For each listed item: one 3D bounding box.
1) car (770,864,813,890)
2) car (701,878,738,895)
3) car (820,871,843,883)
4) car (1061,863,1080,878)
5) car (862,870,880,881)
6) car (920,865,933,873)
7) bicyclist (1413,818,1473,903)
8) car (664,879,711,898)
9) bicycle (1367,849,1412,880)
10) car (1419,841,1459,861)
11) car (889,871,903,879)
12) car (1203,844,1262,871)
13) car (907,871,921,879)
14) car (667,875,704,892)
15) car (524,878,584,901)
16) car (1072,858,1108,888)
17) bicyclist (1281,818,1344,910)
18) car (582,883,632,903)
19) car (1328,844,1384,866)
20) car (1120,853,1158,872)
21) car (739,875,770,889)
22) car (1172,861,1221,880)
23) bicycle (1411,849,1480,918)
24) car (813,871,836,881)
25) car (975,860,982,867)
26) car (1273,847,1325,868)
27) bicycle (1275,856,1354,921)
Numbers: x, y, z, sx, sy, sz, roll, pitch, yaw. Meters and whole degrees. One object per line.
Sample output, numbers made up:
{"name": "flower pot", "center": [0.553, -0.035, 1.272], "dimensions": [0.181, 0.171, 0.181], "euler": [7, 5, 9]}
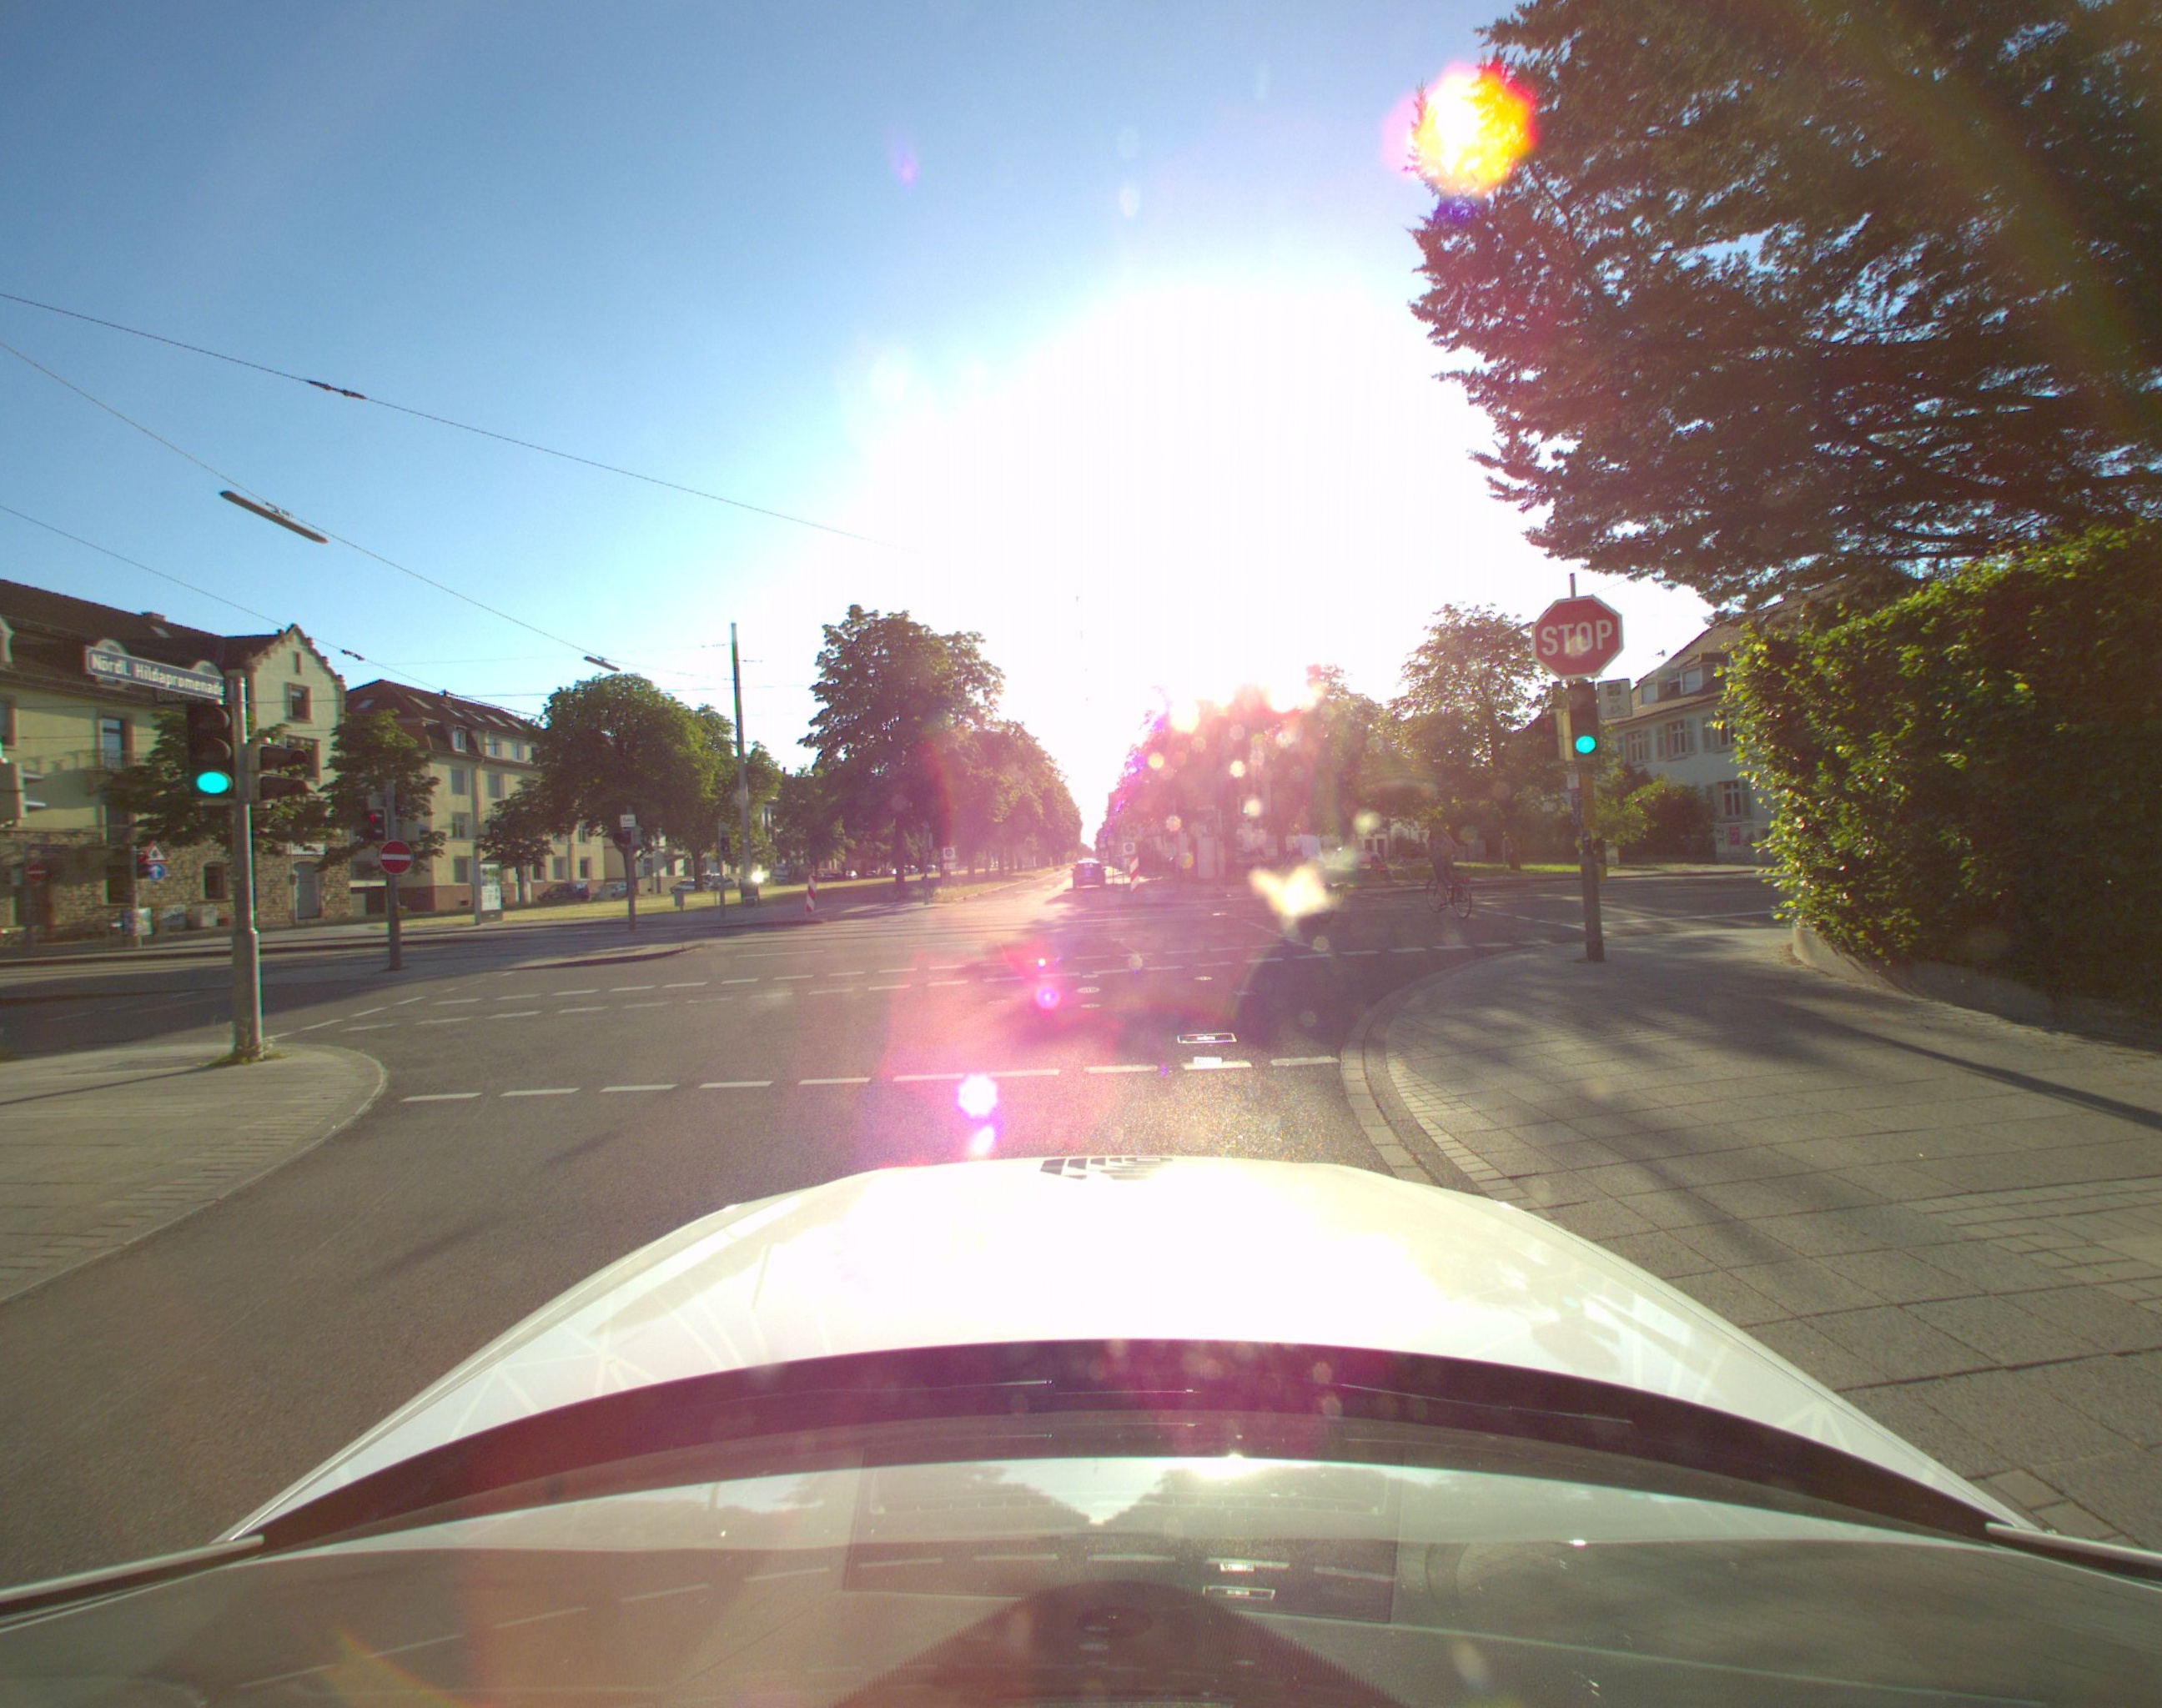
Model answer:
{"name": "car", "center": [-35.984, 2.814, 101.442], "dimensions": [2.384, 3.131, 7.854], "euler": [0, 0, 1]}
{"name": "car", "center": [-36.273, 3.231, 81.919], "dimensions": [1.790, 1.554, 4.417], "euler": [0, 0, -1]}
{"name": "car", "center": [-35.752, 3.253, 116.727], "dimensions": [1.872, 1.674, 4.316], "euler": [-1, -1, 1]}
{"name": "car", "center": [-0.963, 1.576, 76.960], "dimensions": [1.703, 1.359, 4.203], "euler": [-1, -1, 1]}
{"name": "car", "center": [-35.315, 3.676, 137.127], "dimensions": [1.805, 1.781, 4.123], "euler": [-1, -1, 2]}
{"name": "car", "center": [-35.633, 3.387, 187.551], "dimensions": [1.987, 1.659, 4.570], "euler": [-3, 0, 0]}
{"name": "bicyclist", "center": [6.909, 0.130, 15.575], "dimensions": [0.710, 1.562, 0.893], "euler": [0, -2, -1]}
{"name": "car", "center": [-36.586, 3.229, 75.833], "dimensions": [1.986, 1.659, 4.573], "euler": [-1, -1, 2]}
{"name": "bicycle", "center": [11.886, 0.402, 31.395], "dimensions": [1.513, 1.089, 0.468], "euler": [-3, 1, 9]}
{"name": "car", "center": [31.008, -0.282, 70.548], "dimensions": [1.974, 1.552, 4.025], "euler": [-3, 0, 41]}
{"name": "car", "center": [-39.355, 4.527, 173.291], "dimensions": [1.986, 1.659, 4.357], "euler": [-1, -1, 2]}
{"name": "car", "center": [11.890, 0.270, 64.102], "dimensions": [4.227, 1.875, 2.030], "euler": [-3, -2, 0]}
{"name": "car", "center": [-34.407, 4.333, 167.857], "dimensions": [2.015, 1.659, 3.984], "euler": [-1, -1, 1]}
{"name": "car", "center": [-41.929, 3.111, 86.400], "dimensions": [1.709, 1.633, 4.193], "euler": [-1, -1, 2]}
{"name": "car", "center": [-42.953, 2.866, 66.493], "dimensions": [1.986, 1.736, 4.313], "euler": [-1, -1, 2]}
{"name": "car", "center": [0.535, 1.028, 43.559], "dimensions": [1.719, 1.511, 4.543], "euler": [-1, -1, 2]}
{"name": "bicyclist", "center": [4.503, 0.192, 15.861], "dimensions": [0.816, 1.732, 0.889], "euler": [0, -2, -16]}
{"name": "car", "center": [-42.341, 3.487, 72.797], "dimensions": [1.986, 1.659, 4.002], "euler": [-1, -1, 2]}
{"name": "car", "center": [21.618, 0.075, 64.117], "dimensions": [3.914, 1.524, 1.521], "euler": [-1, -2, -5]}
{"name": "car", "center": [6.550, 0.973, 92.383], "dimensions": [3.979, 1.822, 1.757], "euler": [-3, -6, -4]}
{"name": "car", "center": [-41.260, 3.548, 103.075], "dimensions": [1.986, 1.659, 4.573], "euler": [-1, -1, 2]}
{"name": "car", "center": [9.994, 1.444, 70.695], "dimensions": [3.974, 1.447, 1.716], "euler": [-2, -2, 0]}
{"name": "bicycle", "center": [6.965, 0.524, 15.648], "dimensions": [0.489, 1.183, 1.965], "euler": [0, 2, 1]}
{"name": "car", "center": [-40.118, 3.427, 127.323], "dimensions": [1.986, 1.659, 4.376], "euler": [-1, -1, 2]}
{"name": "car", "center": [-31.859, 3.014, 254.009], "dimensions": [1.649, 1.938, 3.566], "euler": [-1, -3, 0]}
{"name": "car", "center": [17.031, 0.278, 63.646], "dimensions": [3.548, 1.516, 1.602], "euler": [-2, -1, -5]}
{"name": "bicycle", "center": [4.516, 0.650, 15.896], "dimensions": [0.573, 1.184, 1.896], "euler": [0, -1, -15]}
